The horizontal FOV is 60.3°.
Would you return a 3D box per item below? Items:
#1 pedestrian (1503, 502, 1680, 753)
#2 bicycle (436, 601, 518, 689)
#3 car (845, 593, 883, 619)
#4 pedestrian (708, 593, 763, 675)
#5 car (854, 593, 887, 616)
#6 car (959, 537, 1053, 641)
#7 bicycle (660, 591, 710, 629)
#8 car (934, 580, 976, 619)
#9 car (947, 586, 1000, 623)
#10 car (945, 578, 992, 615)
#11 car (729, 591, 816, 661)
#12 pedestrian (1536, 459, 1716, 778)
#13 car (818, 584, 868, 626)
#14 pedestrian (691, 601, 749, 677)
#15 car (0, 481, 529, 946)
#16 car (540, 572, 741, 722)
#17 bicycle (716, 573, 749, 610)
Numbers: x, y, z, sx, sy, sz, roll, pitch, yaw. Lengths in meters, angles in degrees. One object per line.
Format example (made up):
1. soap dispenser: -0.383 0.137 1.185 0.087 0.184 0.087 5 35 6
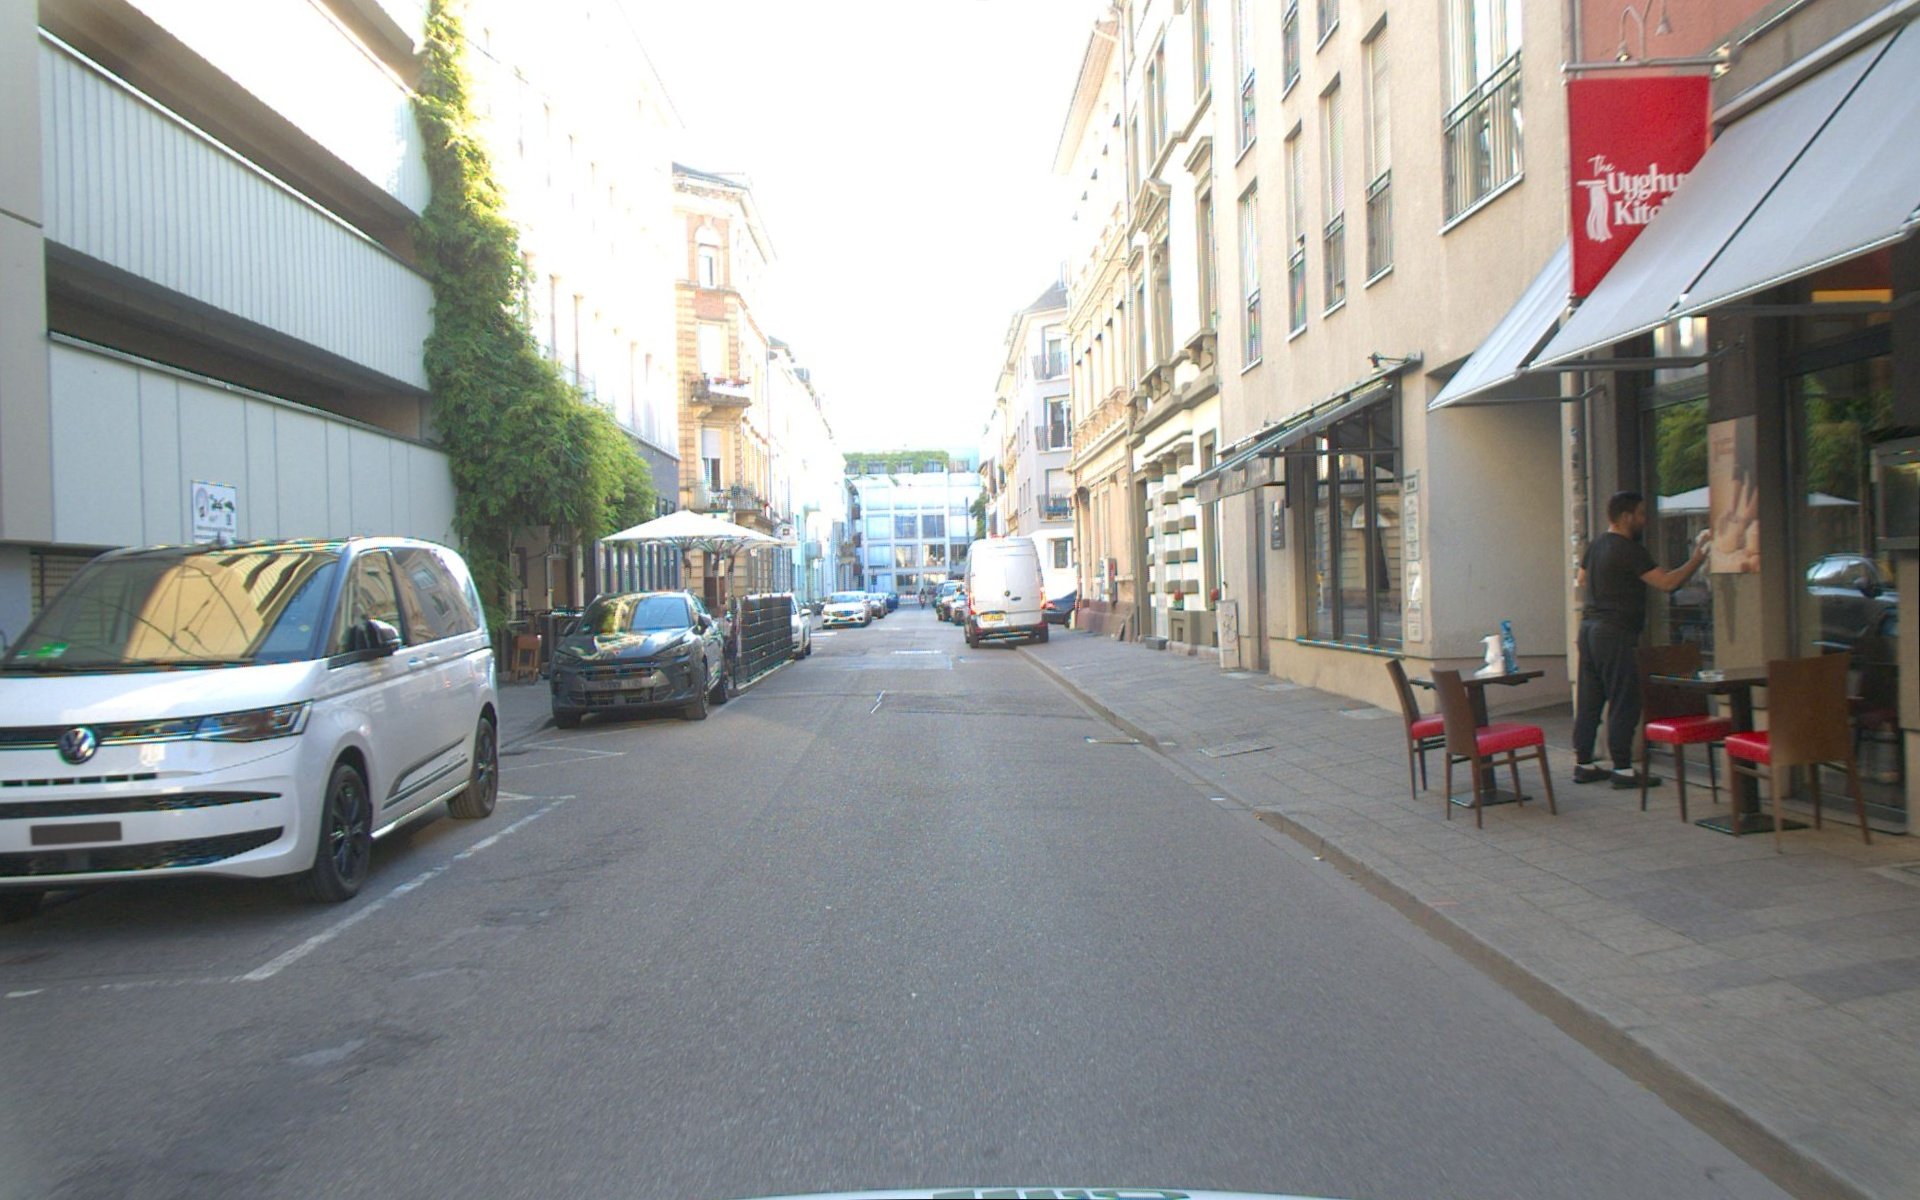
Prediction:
1. pedestrian: 3.988 0.166 10.491 0.808 1.512 0.661 -2 0 -3
2. bicycle: -6.862 0.614 23.567 0.630 1.180 1.794 -1 0 0
3. car: -5.321 0.320 92.096 1.953 1.378 4.427 -2 0 -2
4. pedestrian: -3.724 0.553 27.530 0.765 1.309 0.915 -2 0 -1
5. car: -5.940 0.291 109.854 2.130 1.443 3.997 -2 0 -4
6. car: 1.134 -0.301 43.724 2.230 2.482 6.203 -2 0 0
7. bicycle: -10.047 0.349 60.492 1.723 1.297 0.660 -2 3 -5
8. car: -0.277 -0.035 79.648 1.856 1.815 3.998 -2 0 -2
9. car: 0.526 0.171 68.259 1.899 1.396 3.787 -4 0 -2
10. car: 0.342 -0.163 74.325 1.924 1.584 3.887 -2 0 -2
11. car: -4.192 0.557 37.514 1.624 1.438 3.880 -2 0 -2
12. pedestrian: 4.041 0.104 10.078 0.645 1.823 0.730 -5 0 -2
13. car: -4.859 0.201 69.219 1.954 1.591 4.503 -4 0 -3
14. pedestrian: -3.850 0.622 26.538 0.542 1.186 0.740 -2 0 31
15. car: -4.072 0.502 9.714 1.954 1.973 4.847 -3 0 -3
16. car: -4.006 0.529 21.514 1.844 1.595 4.768 -4 1 -3
17. bicycle: -5.784 -0.218 42.133 0.584 0.921 1.644 -2 0 0
